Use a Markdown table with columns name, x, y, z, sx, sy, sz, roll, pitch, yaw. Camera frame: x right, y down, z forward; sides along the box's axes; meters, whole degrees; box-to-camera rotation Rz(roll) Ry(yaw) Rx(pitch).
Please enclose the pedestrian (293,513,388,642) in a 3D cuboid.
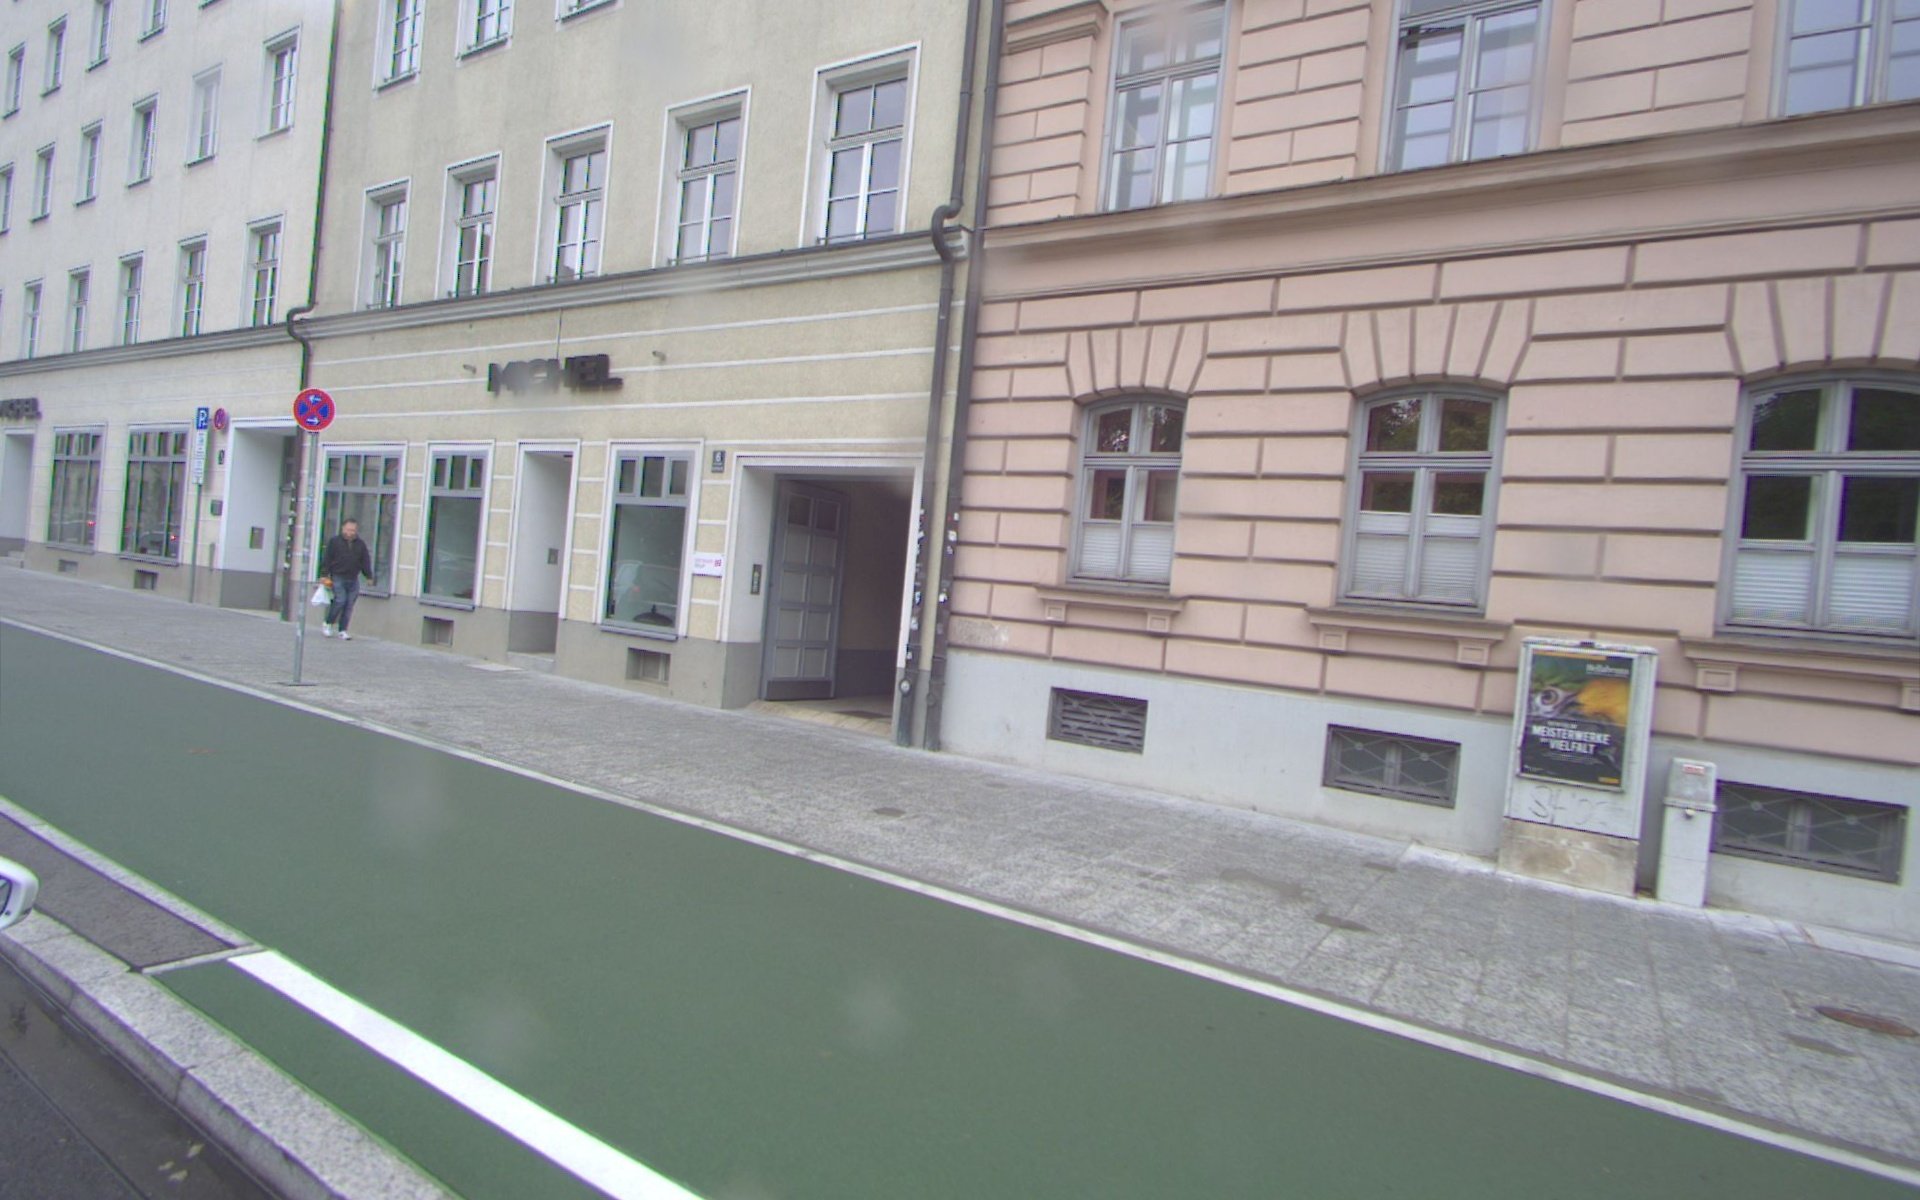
| name | x | y | z | sx | sy | sz | roll | pitch | yaw |
| --- | --- | --- | --- | --- | --- | --- | --- | --- | --- |
| pedestrian | -9.053 | -0.324 | 14.718 | 0.820 | 1.768 | 0.794 | 6 | 1 | 33 |
